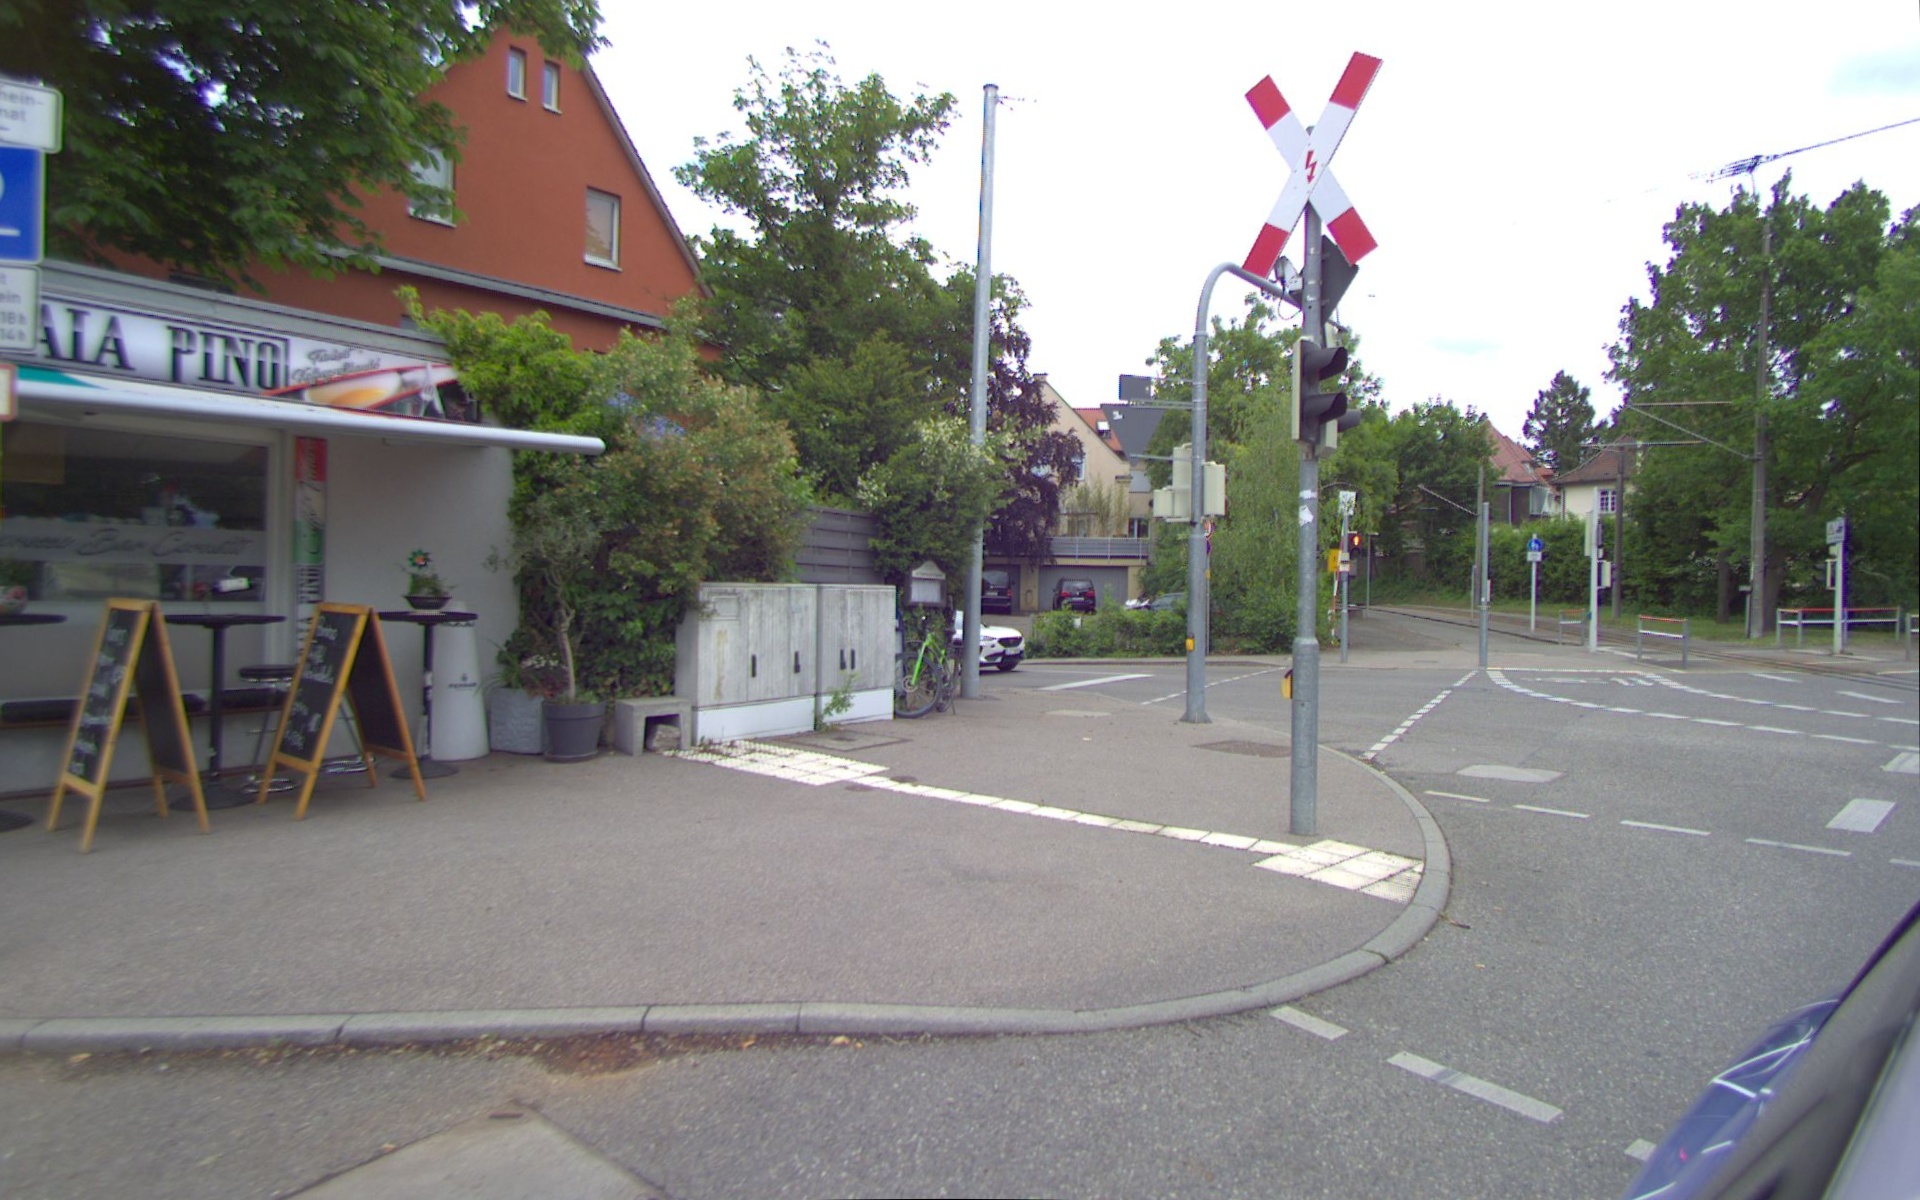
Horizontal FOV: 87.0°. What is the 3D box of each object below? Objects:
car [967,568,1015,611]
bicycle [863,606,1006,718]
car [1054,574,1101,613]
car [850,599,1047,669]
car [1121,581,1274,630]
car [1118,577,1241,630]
[{"bbox_3d":[1.347,-0.483,45.613,1.961,1.816,4.001,1,1,-1],"label":"car"},{"bbox_3d":[-0.249,0.699,11.482,0.547,1.154,1.852,1,-3,37],"label":"bicycle"},{"bbox_3d":[5.226,-0.311,45.441,1.965,1.616,3.995,1,1,5],"label":"car"},{"bbox_3d":[-0.341,0.736,23.995,4.498,1.481,1.971,0,0,40],"label":"car"},{"bbox_3d":[7.596,0.143,32.672,1.967,1.481,4.506,0,0,-44],"label":"car"},{"bbox_3d":[8.755,0.098,40.376,4.428,1.891,1.981,2,1,28],"label":"car"}]
